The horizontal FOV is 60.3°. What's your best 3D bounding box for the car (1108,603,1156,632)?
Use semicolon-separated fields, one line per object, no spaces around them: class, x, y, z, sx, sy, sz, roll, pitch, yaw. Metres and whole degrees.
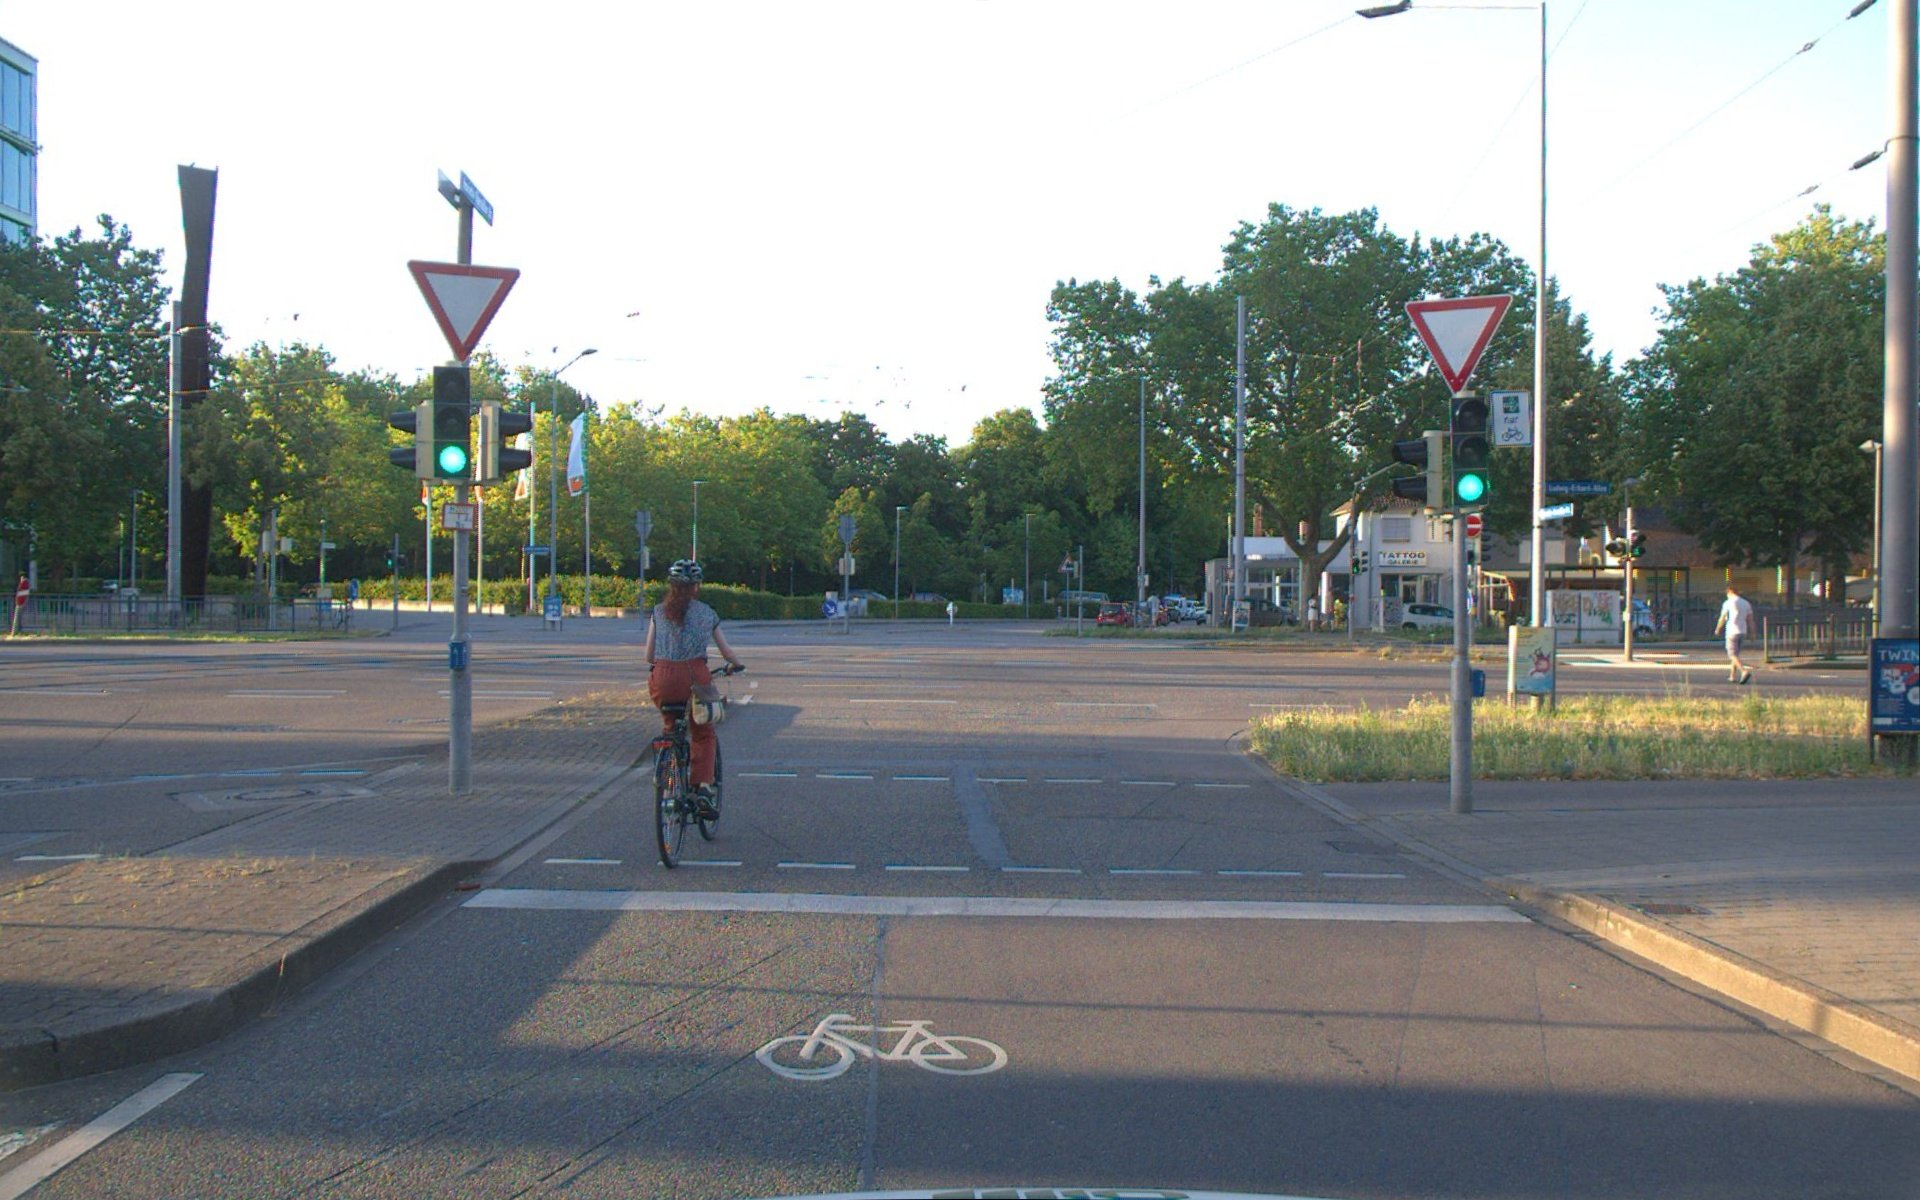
car;10.236;1.014;98.196;1.952;1.601;4.001;1;0;19

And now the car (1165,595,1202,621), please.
car;18.168;0.644;134.450;1.953;2.049;3.998;0;0;24

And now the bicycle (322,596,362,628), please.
bicycle;-22.983;0.451;61.530;0.685;1.156;2.391;1;0;-3

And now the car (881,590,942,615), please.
car;-3.163;0.136;108.064;3.905;1.588;2.000;1;0;1

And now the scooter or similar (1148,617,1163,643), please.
scooter or similar;8.757;1.340;73.957;0.499;1.109;1.243;1;0;-1

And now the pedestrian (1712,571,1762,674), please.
pedestrian;14.071;0.401;29.952;0.747;1.822;0.801;1;0;29

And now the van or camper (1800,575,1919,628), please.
van or camper;43.850;0.091;78.878;6.426;2.452;2.265;1;-1;3

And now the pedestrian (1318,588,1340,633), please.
pedestrian;14.837;0.432;66.549;0.704;1.785;0.897;0;0;23

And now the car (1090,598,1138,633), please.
car;8.809;0.862;94.333;1.829;1.907;3.875;1;0;20

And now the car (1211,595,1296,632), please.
car;15.534;0.705;87.732;4.285;1.867;1.950;0;0;4

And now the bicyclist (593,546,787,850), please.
bicyclist;-1.615;0.565;10.065;1.010;1.748;0.996;1;0;-1

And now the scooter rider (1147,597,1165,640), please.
scooter rider;8.776;0.820;74.020;0.688;1.887;0.669;1;-1;-1

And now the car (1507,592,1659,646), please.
car;20.946;0.637;55.731;4.445;1.758;1.860;1;0;-5

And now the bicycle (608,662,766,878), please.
bicycle;-1.612;0.967;10.067;0.621;1.086;2.122;1;0;-1

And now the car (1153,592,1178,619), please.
car;16.139;0.409;129.957;1.951;2.049;4.003;0;0;6

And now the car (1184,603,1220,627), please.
car;16.717;1.018;114.225;1.875;1.630;4.002;1;0;17

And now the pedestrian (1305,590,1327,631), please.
pedestrian;14.572;0.427;67.697;0.704;1.668;0.897;0;0;23

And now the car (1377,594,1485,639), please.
car;20.264;0.685;71.302;4.142;1.879;2.001;1;0;2
